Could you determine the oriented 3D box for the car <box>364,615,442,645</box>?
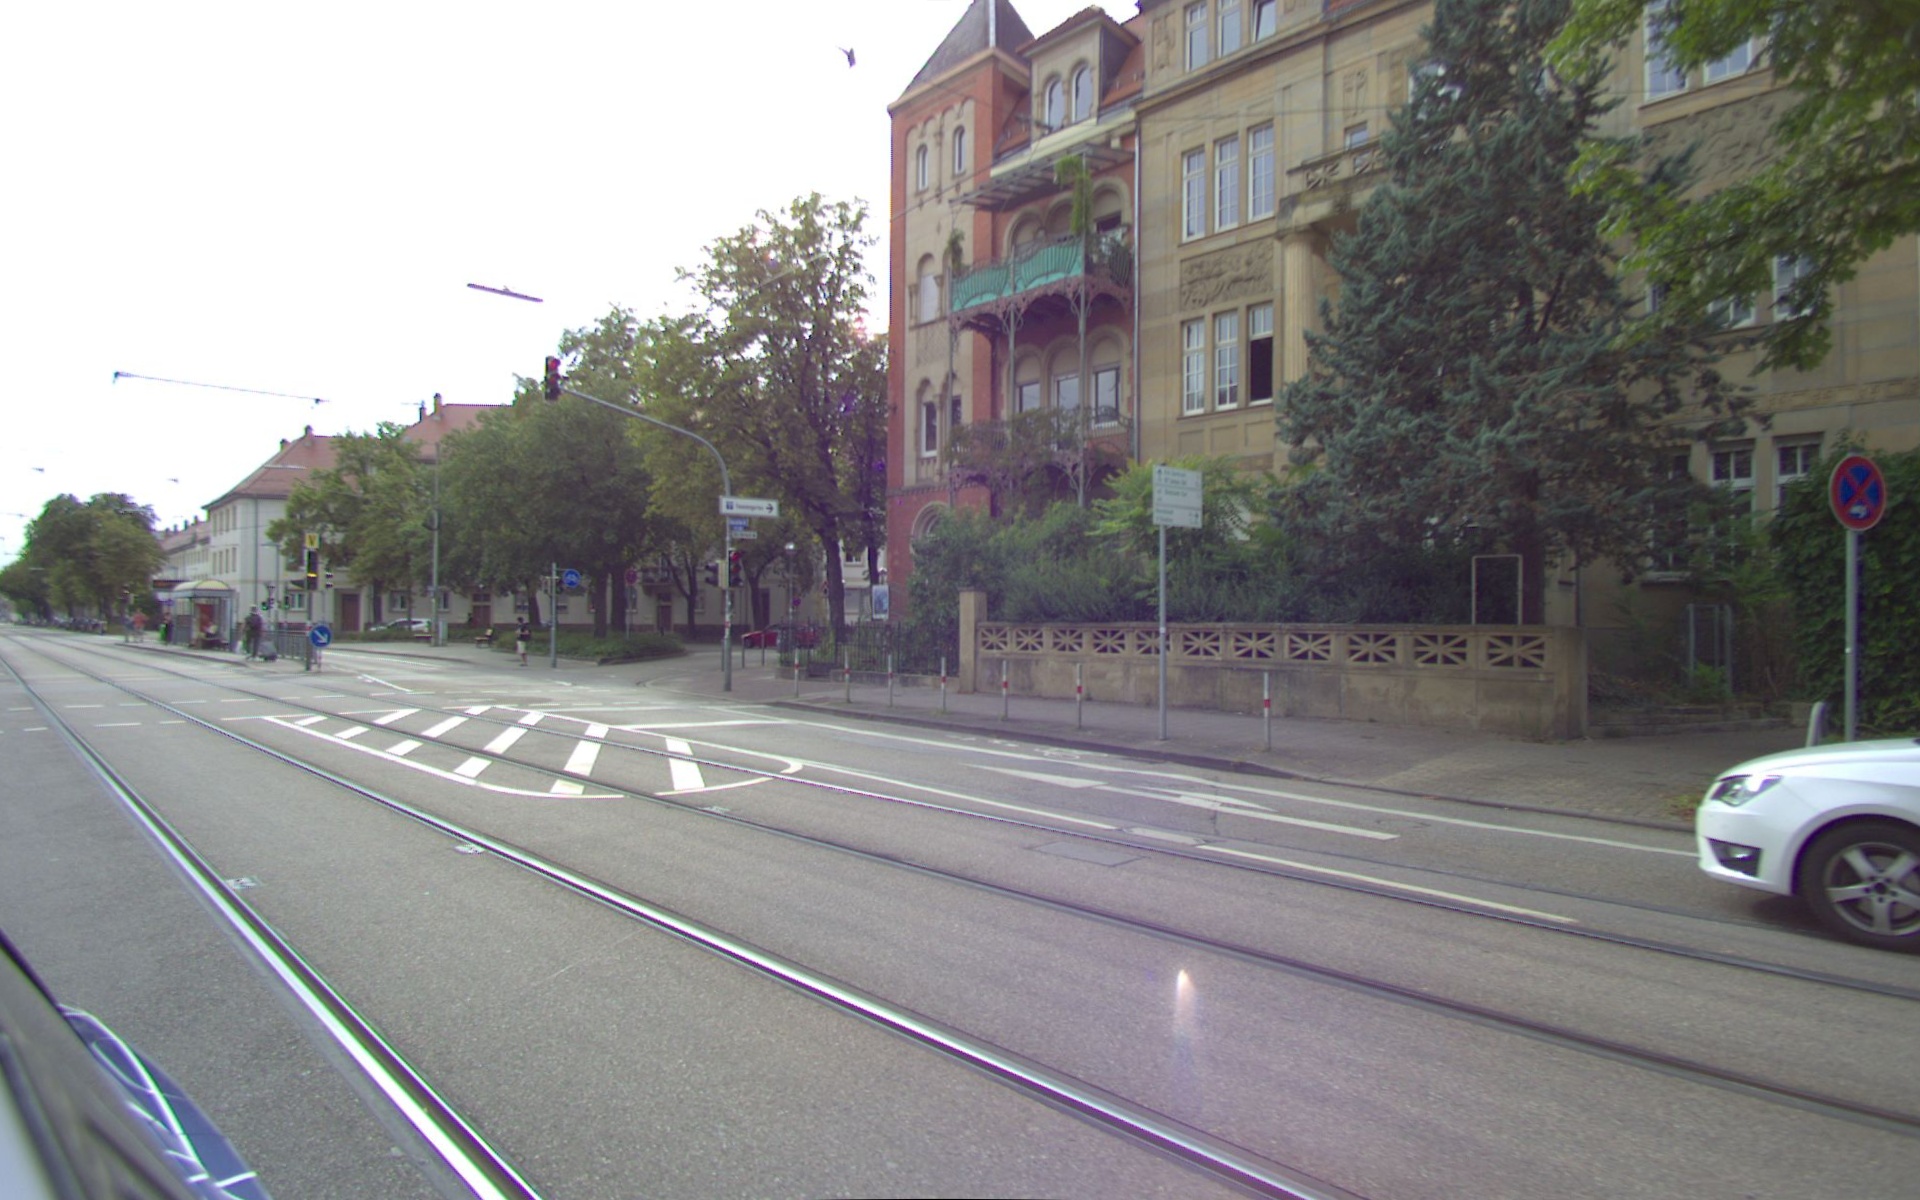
[{"bbox_3d":[-36.388,1.947,66.186,4.131,1.879,1.858,0,-1,-10],"label":"car"}]

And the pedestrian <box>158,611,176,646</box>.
[{"bbox_3d":[-38.959,1.386,49.705,0.619,1.716,0.580,-1,-1,41],"label":"pedestrian"}]

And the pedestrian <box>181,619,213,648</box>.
[{"bbox_3d":[-33.297,1.452,44.184,0.724,1.246,1.019,-1,-1,43],"label":"pedestrian"}]

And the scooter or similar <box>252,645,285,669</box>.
[{"bbox_3d":[-21.386,1.752,31.310,0.659,0.718,0.605,1,-2,-14],"label":"scooter or similar"}]

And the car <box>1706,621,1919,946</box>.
[{"bbox_3d":[5.624,0.822,4.058,1.551,1.427,4.005,4,-4,-41],"label":"car"}]

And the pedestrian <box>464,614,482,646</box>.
[{"bbox_3d":[-31.173,1.909,64.769,0.850,2.029,0.766,0,-1,-11],"label":"pedestrian"}]

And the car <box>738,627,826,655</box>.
[{"bbox_3d":[-9.376,2.138,53.354,4.267,1.415,1.697,0,-1,13],"label":"car"}]

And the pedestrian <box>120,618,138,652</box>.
[{"bbox_3d":[-45.552,1.897,55.453,0.463,1.848,0.651,-1,-1,32],"label":"pedestrian"}]

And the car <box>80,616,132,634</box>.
[{"bbox_3d":[-86.310,2.477,102.315,3.939,1.739,1.878,0,-1,-43],"label":"car"}]

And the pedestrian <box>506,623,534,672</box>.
[{"bbox_3d":[-15.260,1.635,35.098,0.711,1.703,0.646,-1,-2,41],"label":"pedestrian"}]

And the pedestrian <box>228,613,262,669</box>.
[{"bbox_3d":[-22.200,1.269,31.402,0.815,1.703,0.675,-1,-2,43],"label":"pedestrian"}]

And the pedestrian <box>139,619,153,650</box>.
[{"bbox_3d":[-45.030,1.891,56.008,0.401,1.716,0.495,-1,-1,32],"label":"pedestrian"}]
